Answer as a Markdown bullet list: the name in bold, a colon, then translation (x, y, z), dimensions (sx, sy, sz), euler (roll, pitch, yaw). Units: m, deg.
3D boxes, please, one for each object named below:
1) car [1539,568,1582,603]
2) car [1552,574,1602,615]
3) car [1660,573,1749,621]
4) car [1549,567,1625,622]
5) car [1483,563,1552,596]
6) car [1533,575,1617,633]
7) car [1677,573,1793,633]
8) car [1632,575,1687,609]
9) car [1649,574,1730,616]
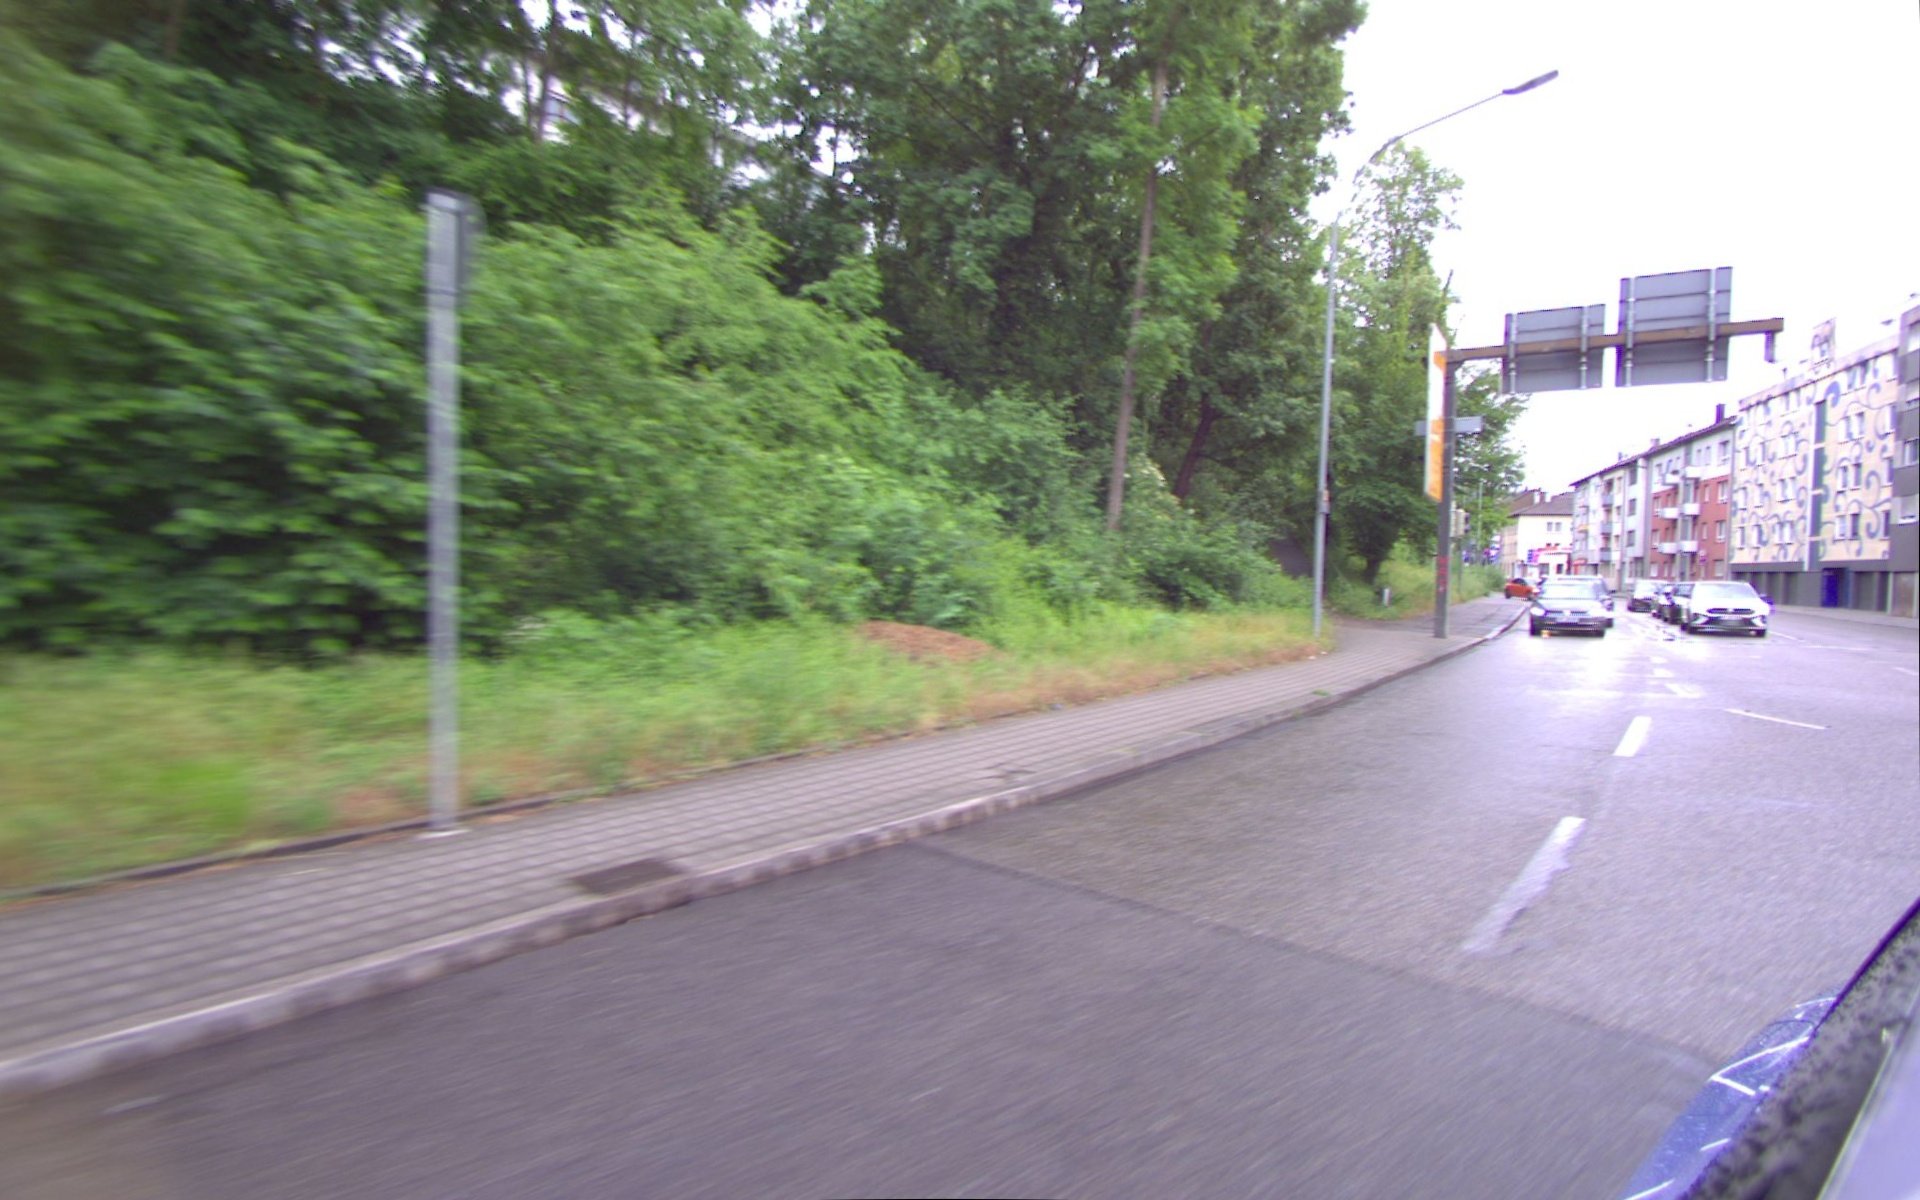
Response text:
- **car**: translation (30.578, -0.777, 51.646), dimensions (1.667, 1.676, 3.961), euler (2, 2, 28)
- **car**: translation (27.753, -0.287, 45.592), dimensions (1.667, 1.676, 3.961), euler (2, 2, 28)
- **car**: translation (25.588, -0.156, 34.938), dimensions (1.904, 1.496, 4.572), euler (2, 2, 30)
- **car**: translation (20.721, -0.235, 33.432), dimensions (1.985, 1.636, 4.567), euler (2, 2, 32)
- **car**: translation (36.082, -1.332, 65.642), dimensions (1.962, 2.038, 4.488), euler (1, 2, 1)
- **car**: translation (16.843, 0.037, 27.646), dimensions (1.807, 1.426, 4.182), euler (2, 2, 33)
- **car**: translation (21.824, 0.020, 28.684), dimensions (1.863, 1.496, 4.509), euler (2, 2, 29)
- **car**: translation (31.879, -0.397, 46.204), dimensions (1.698, 1.411, 3.958), euler (2, 2, 30)
- **car**: translation (28.807, -0.255, 40.090), dimensions (1.982, 1.496, 4.574), euler (2, 2, 29)
